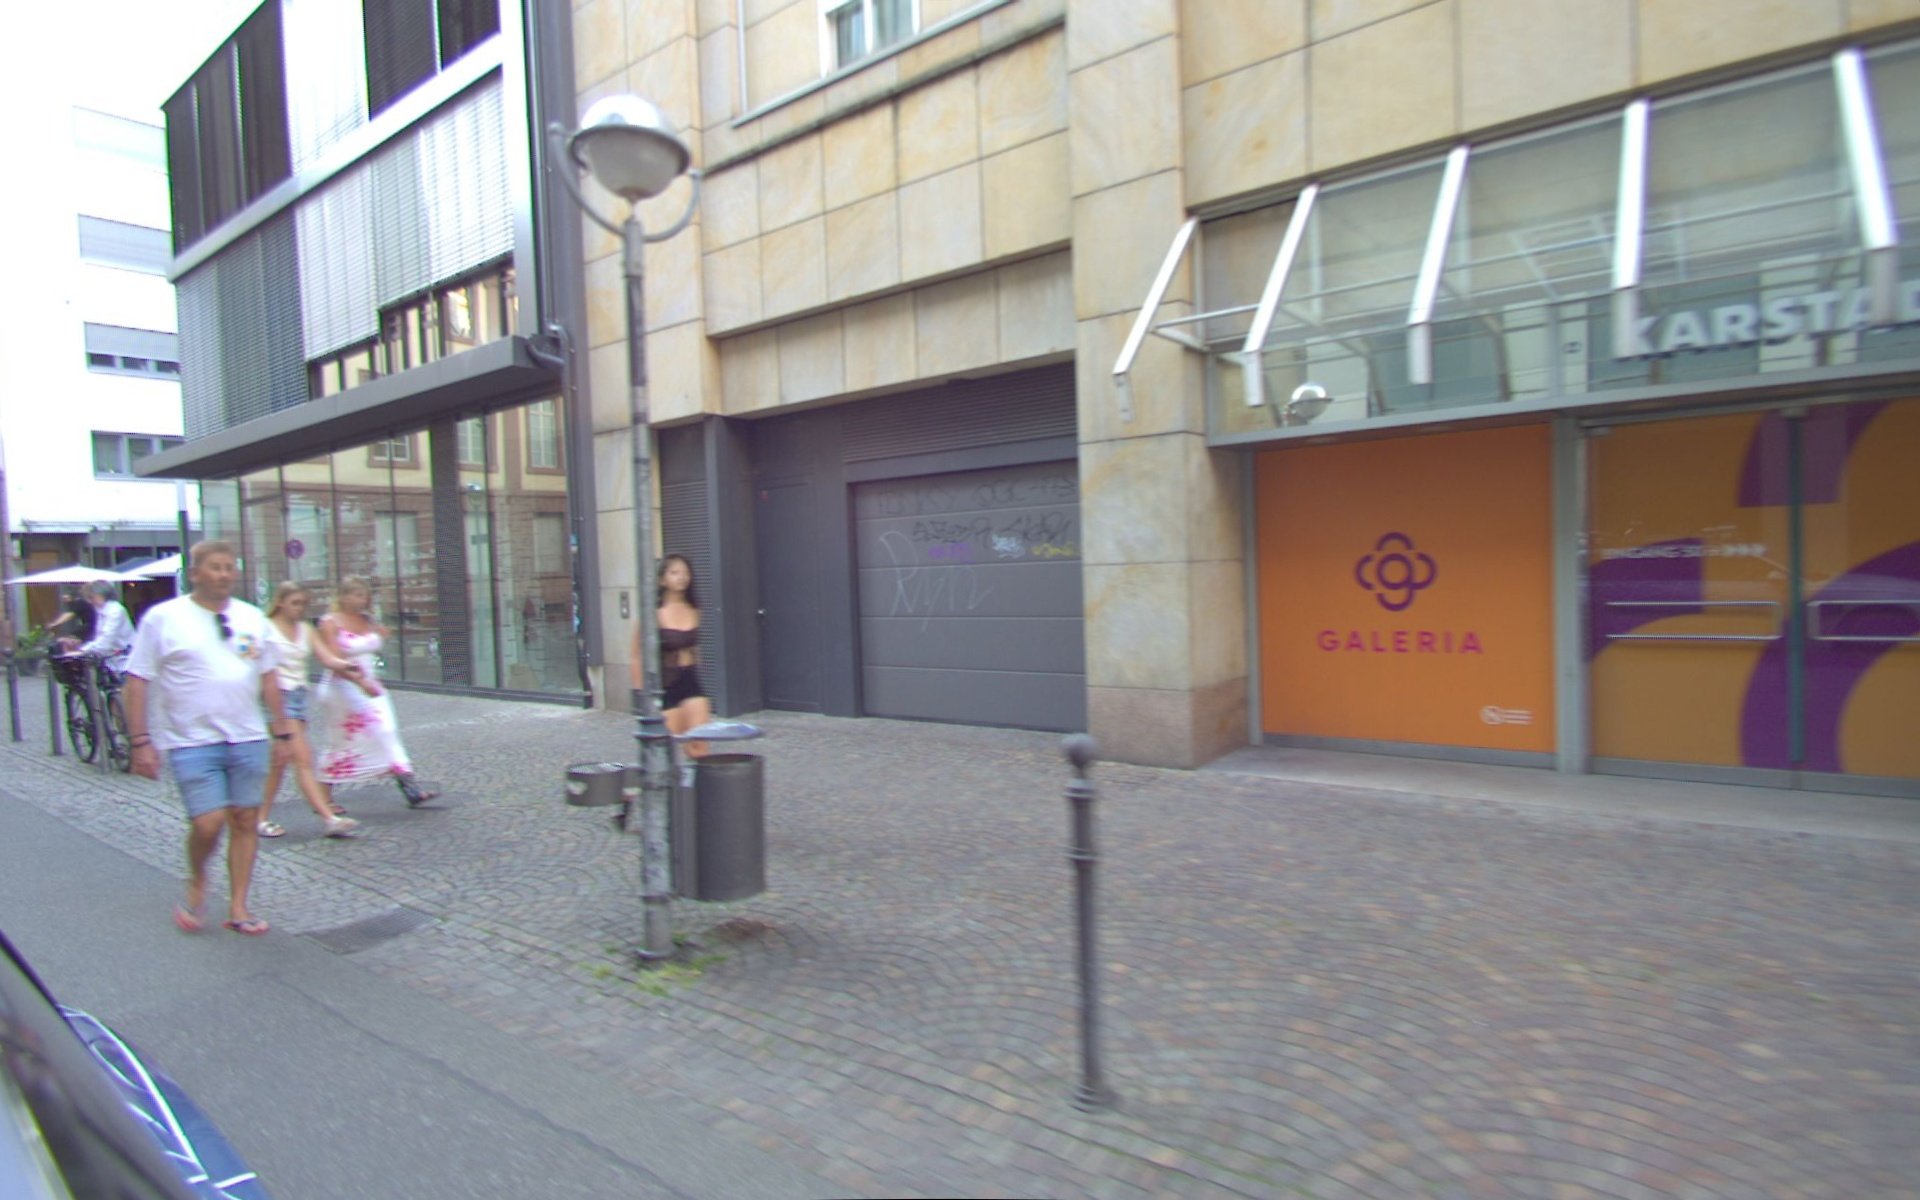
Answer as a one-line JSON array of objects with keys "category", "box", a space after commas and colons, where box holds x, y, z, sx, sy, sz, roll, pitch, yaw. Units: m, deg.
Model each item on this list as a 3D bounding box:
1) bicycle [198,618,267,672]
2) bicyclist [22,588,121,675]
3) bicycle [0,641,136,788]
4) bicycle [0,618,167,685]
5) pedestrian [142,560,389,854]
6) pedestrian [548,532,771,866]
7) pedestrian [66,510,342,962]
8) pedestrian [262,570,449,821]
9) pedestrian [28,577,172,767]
[{"category": "bicycle", "box": [-16.074, 1.000, 22.355, 1.670, 1.121, 0.701, -3, 0, 36]}, {"category": "bicyclist", "box": [-19.842, 0.690, 22.625, 0.921, 1.831, 1.452, -2, 1, 37]}, {"category": "bicycle", "box": [-8.163, 0.990, 9.225, 1.912, 1.162, 0.528, -1, 3, 38]}, {"category": "bicycle", "box": [-19.823, 1.117, 22.642, 0.921, 1.269, 3.119, -2, 1, 37]}, {"category": "pedestrian", "box": [-4.386, 0.637, 6.448, 0.938, 1.742, 0.806, -2, 1, 11]}, {"category": "pedestrian", "box": [-1.791, 0.536, 6.063, 0.969, 1.808, 0.779, -1, 1, 32]}, {"category": "pedestrian", "box": [-3.472, 0.547, 4.656, 0.876, 1.836, 0.736, -1, 1, 36]}, {"category": "pedestrian", "box": [-4.274, 0.645, 7.189, 0.852, 1.677, 0.674, -2, 1, 14]}, {"category": "pedestrian", "box": [-8.301, 0.667, 9.800, 0.584, 1.731, 0.769, -3, 2, 6]}]
